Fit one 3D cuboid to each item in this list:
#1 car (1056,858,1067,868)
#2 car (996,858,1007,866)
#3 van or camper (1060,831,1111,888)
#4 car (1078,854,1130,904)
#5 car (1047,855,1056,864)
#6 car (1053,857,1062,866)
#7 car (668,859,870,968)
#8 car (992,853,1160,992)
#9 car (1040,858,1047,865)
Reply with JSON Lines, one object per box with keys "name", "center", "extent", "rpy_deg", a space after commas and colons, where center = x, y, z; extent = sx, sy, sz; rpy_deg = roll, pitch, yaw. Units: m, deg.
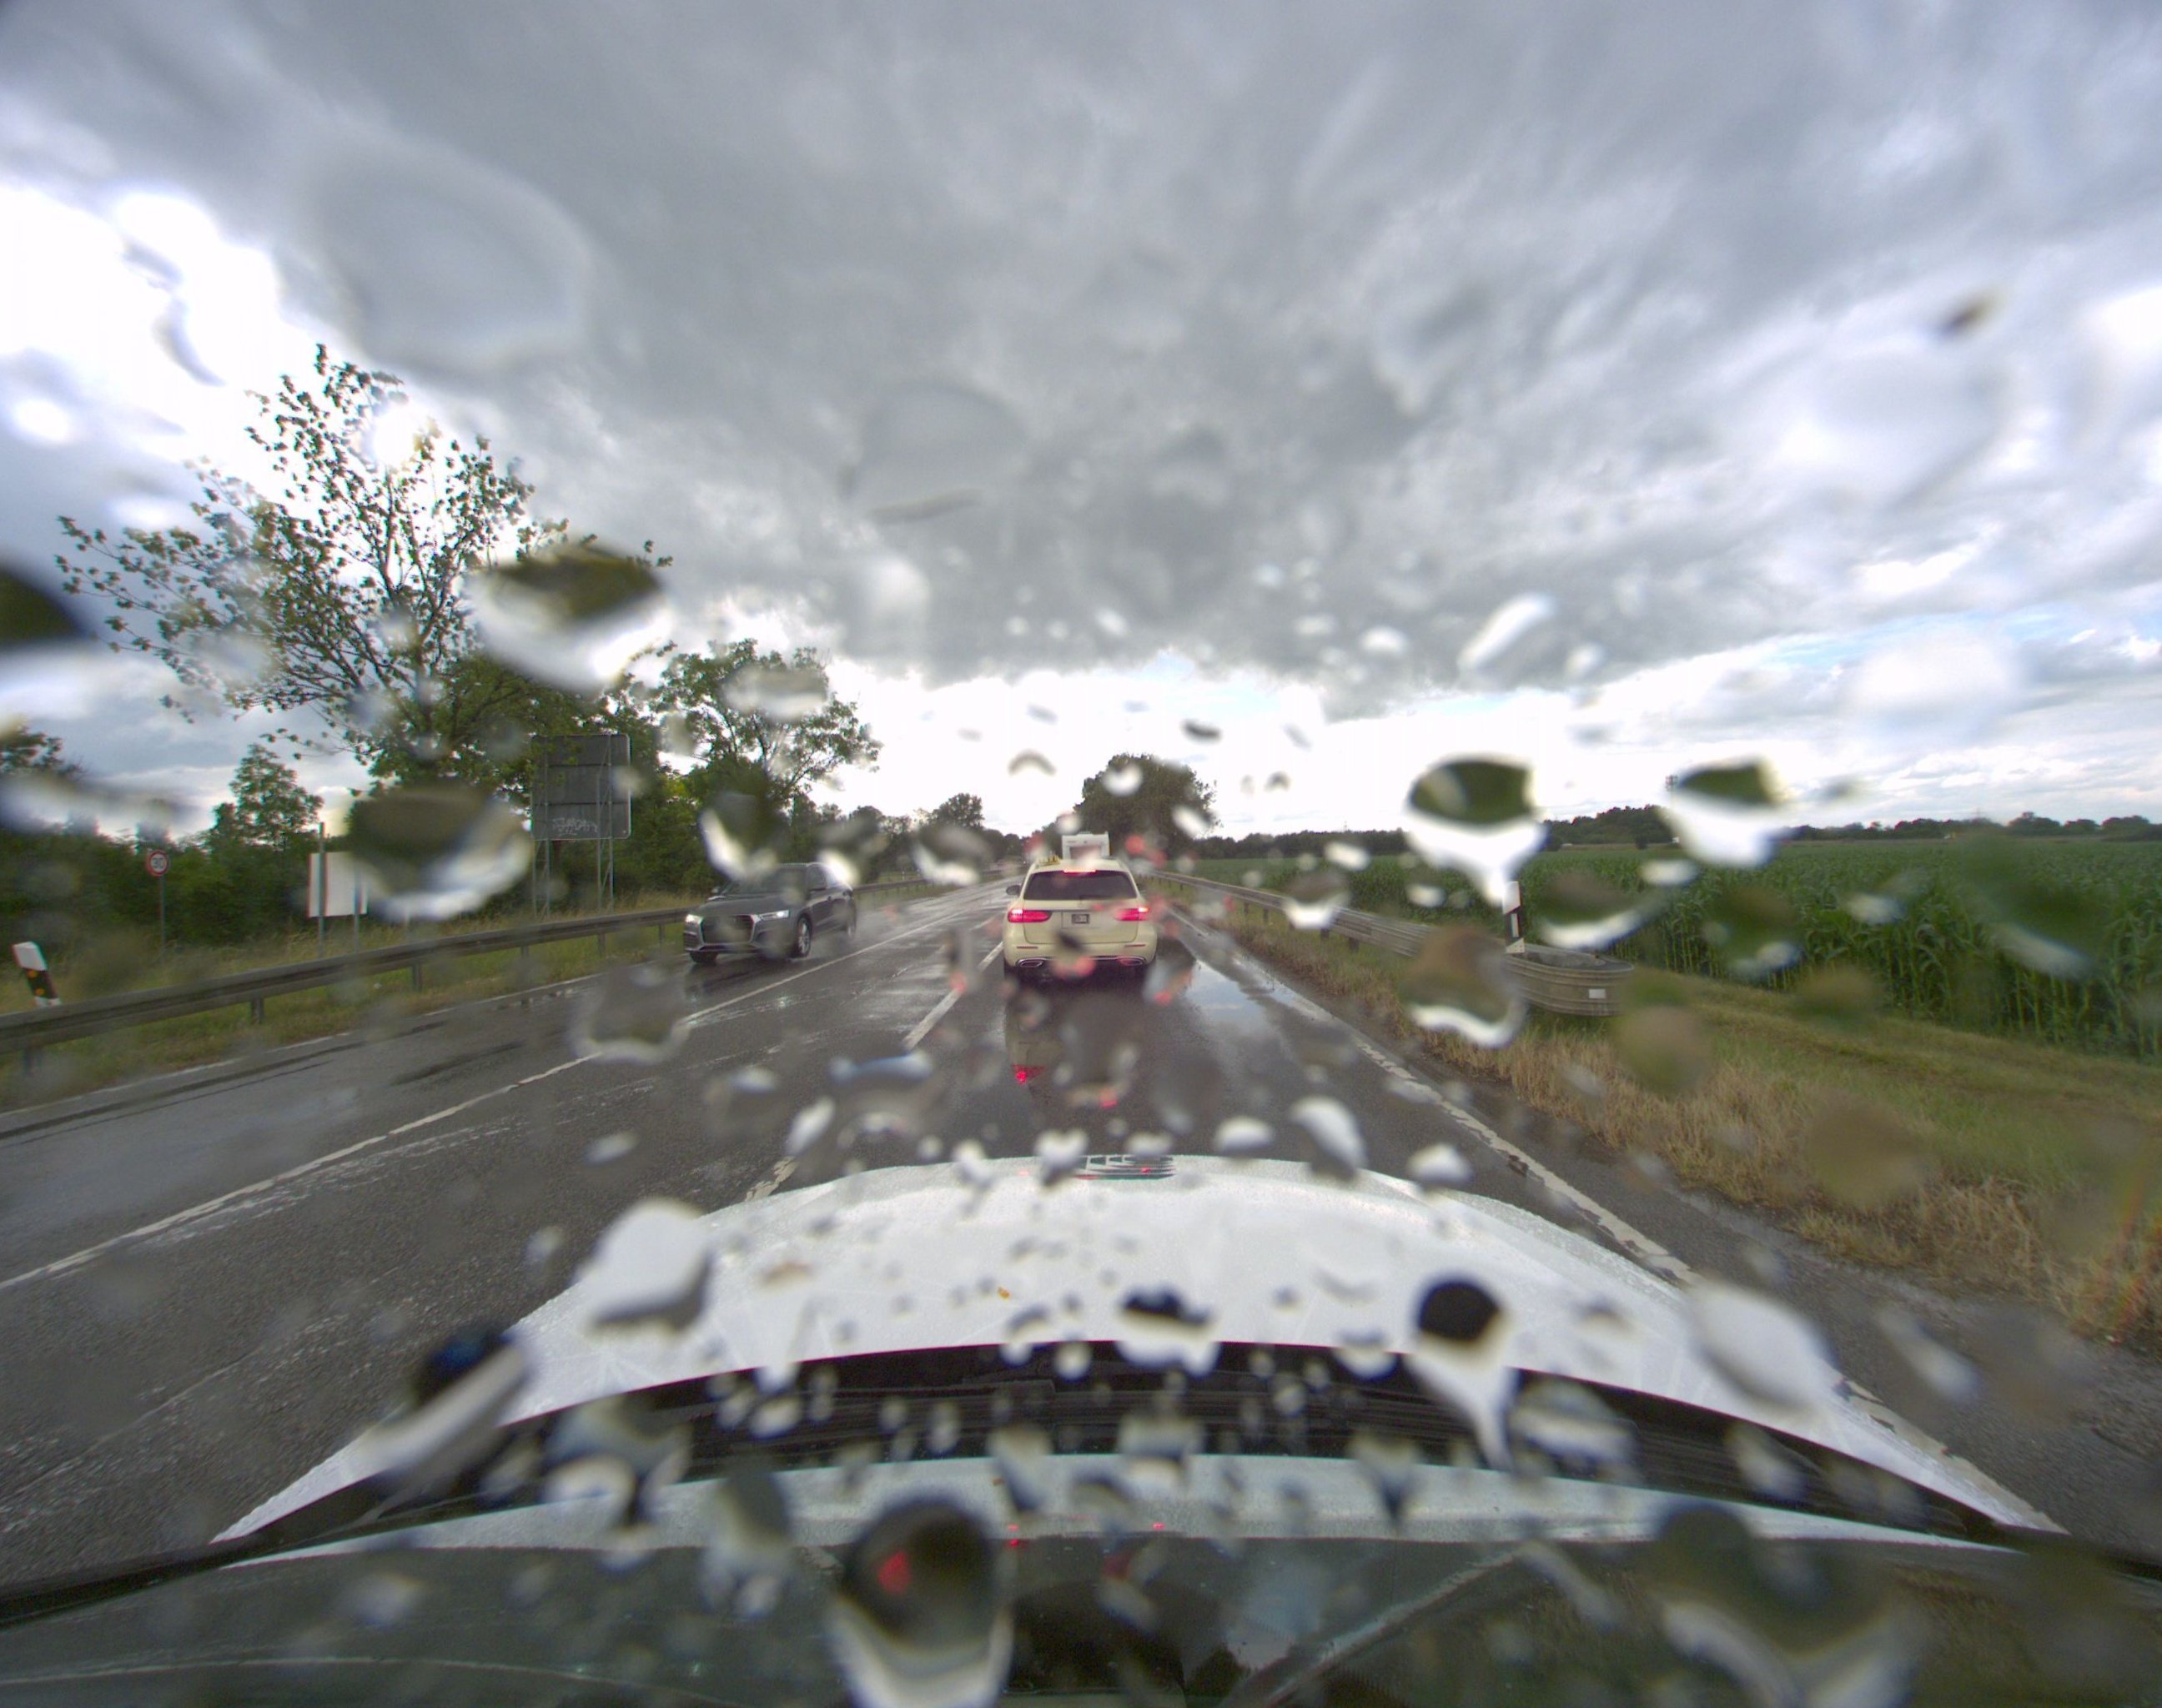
{"name": "car", "center": [-3.963, 1.820, 166.202], "extent": [1.989, 2.014, 3.995], "rpy_deg": [-1, 0, -4]}
{"name": "car", "center": [-18.319, 1.859, 188.779], "extent": [1.986, 1.651, 4.002], "rpy_deg": [-1, 0, 2]}
{"name": "van or camper", "center": [0.263, 0.250, 41.535], "extent": [2.342, 2.680, 5.769], "rpy_deg": [-1, 0, 1]}
{"name": "car", "center": [0.760, 0.789, 27.702], "extent": [1.622, 1.529, 3.933], "rpy_deg": [-2, 0, 1]}
{"name": "car", "center": [-7.329, 1.394, 203.197], "extent": [1.988, 2.014, 3.997], "rpy_deg": [-1, 0, -2]}
{"name": "car", "center": [-5.477, 1.675, 190.702], "extent": [1.986, 2.051, 4.001], "rpy_deg": [-1, 0, 2]}
{"name": "car", "center": [-5.206, 0.897, 14.249], "extent": [1.762, 1.523, 4.142], "rpy_deg": [-3, 0, 1]}
{"name": "car", "center": [0.018, 0.757, 10.949], "extent": [1.818, 1.485, 4.147], "rpy_deg": [-1, 0, 2]}
{"name": "car", "center": [-11.019, 2.104, 238.300], "extent": [1.990, 2.013, 3.994], "rpy_deg": [-1, 0, -4]}
